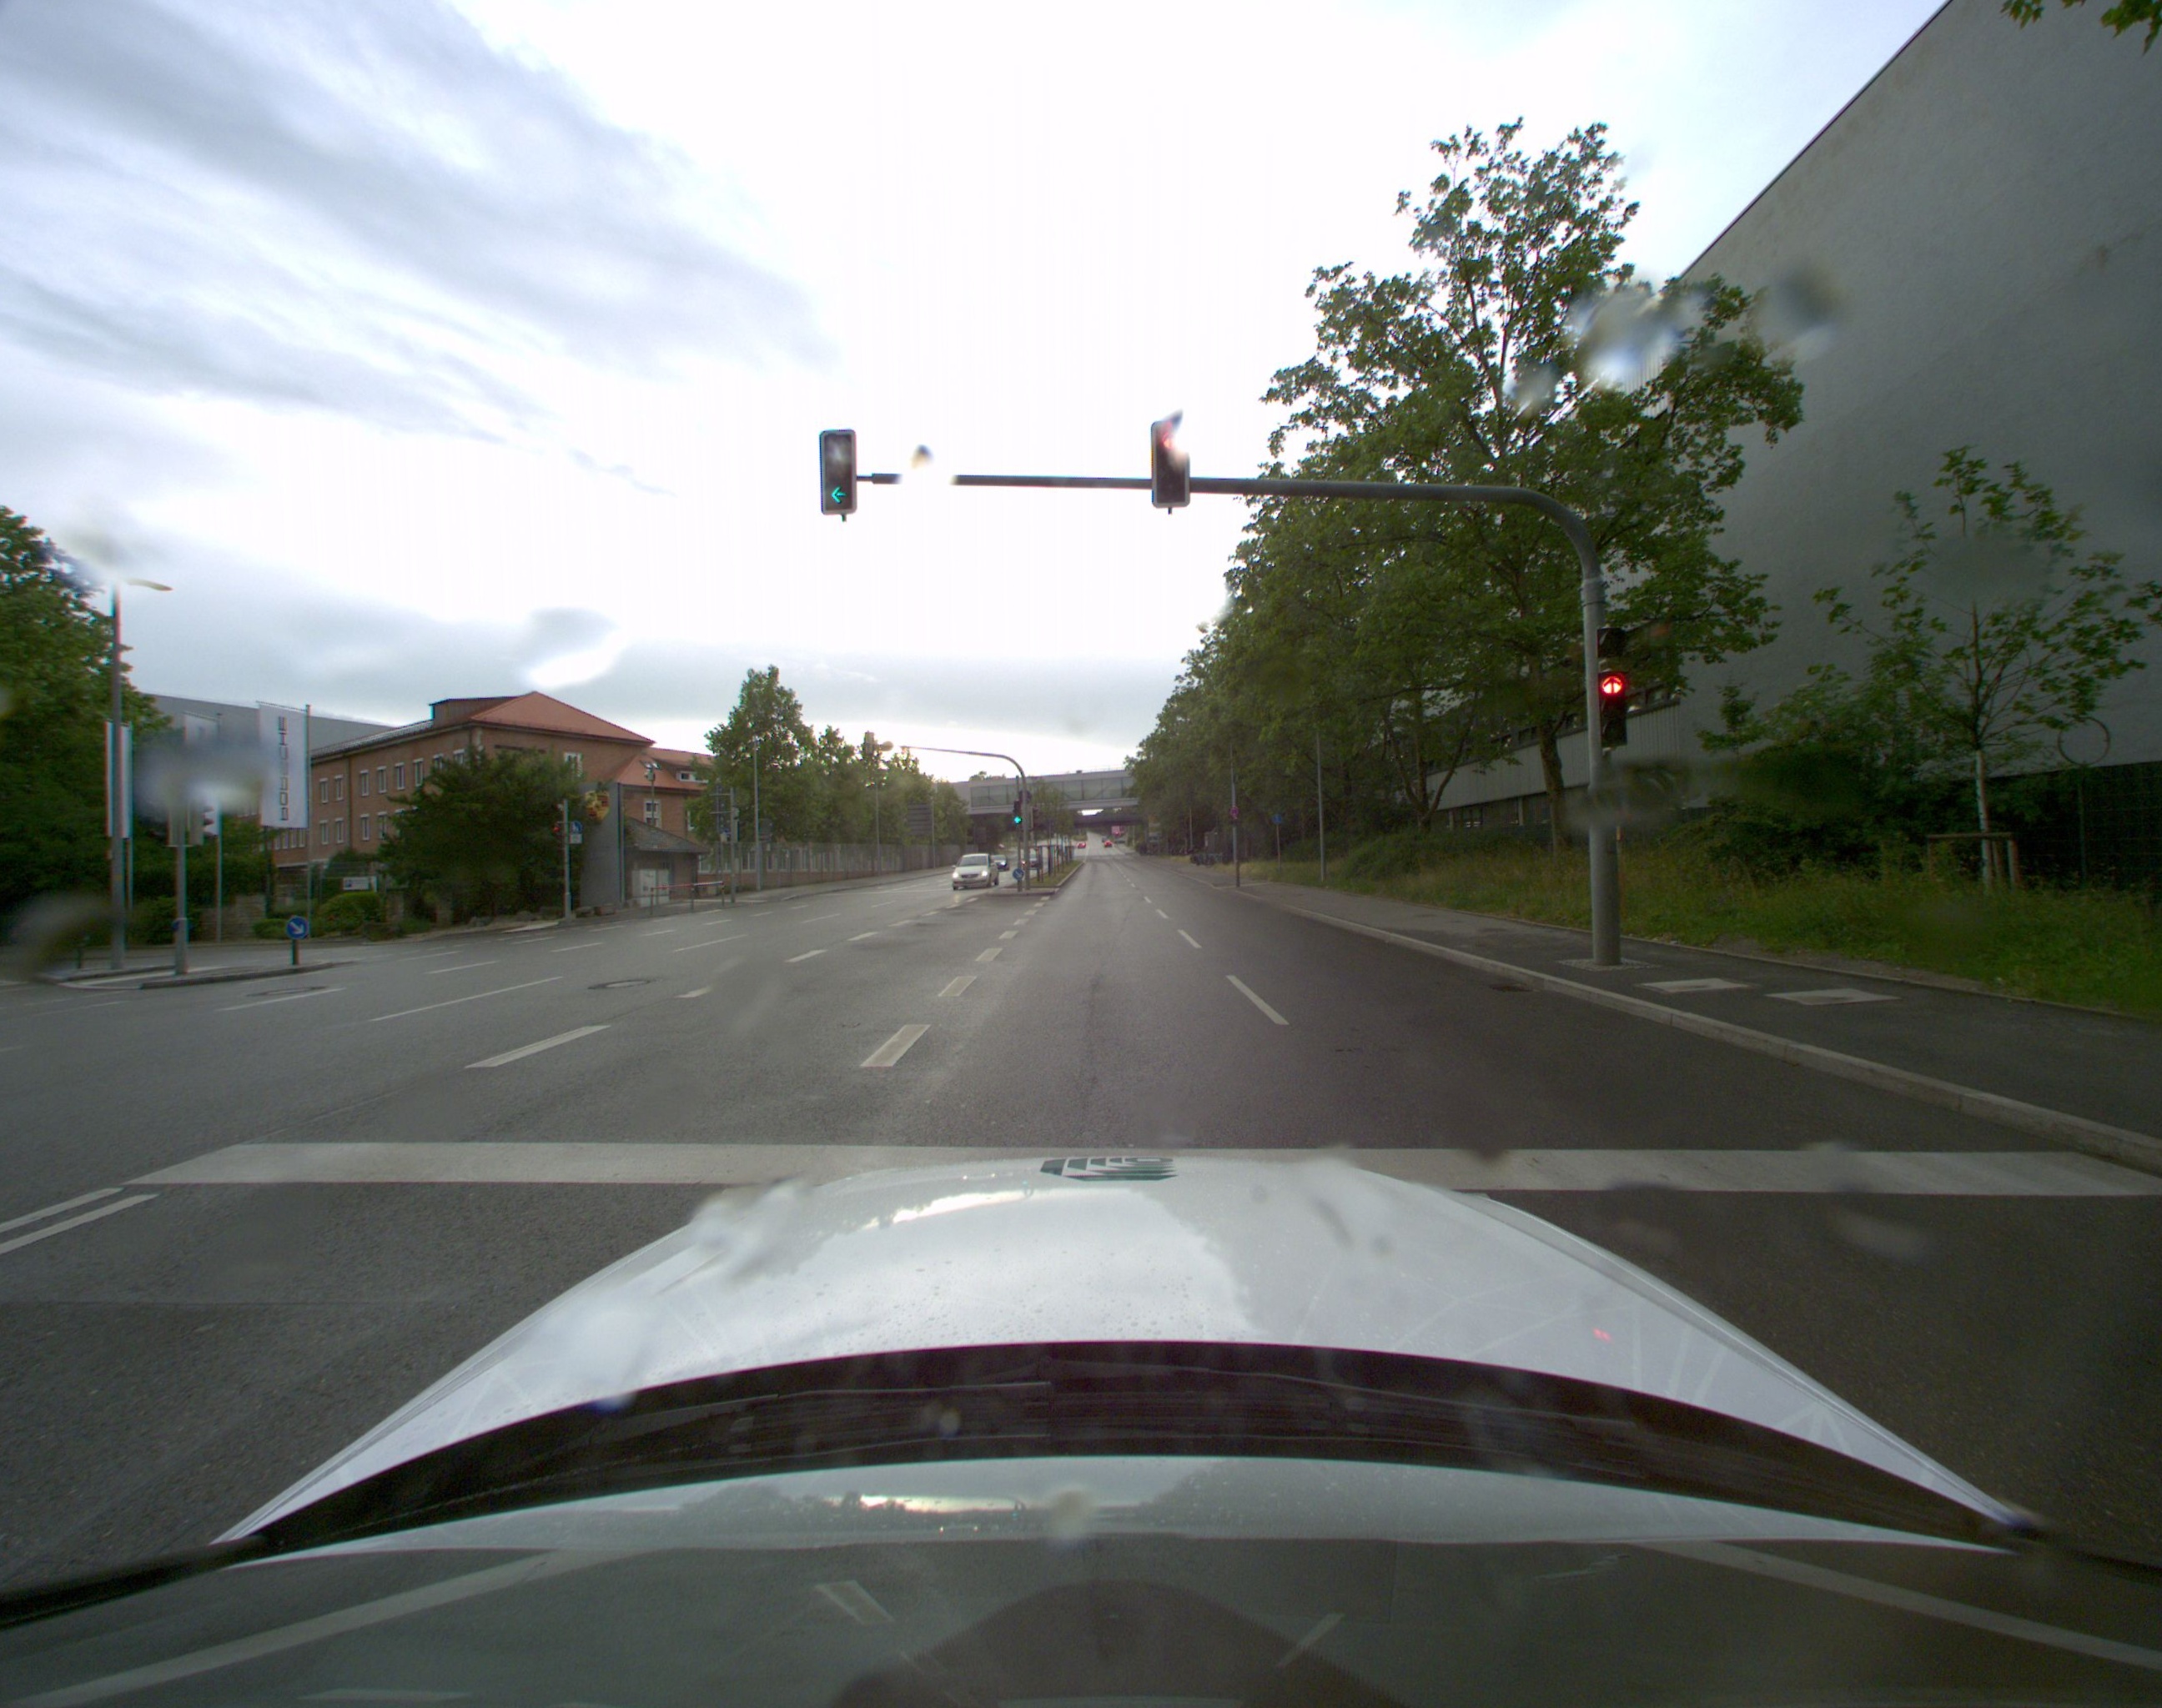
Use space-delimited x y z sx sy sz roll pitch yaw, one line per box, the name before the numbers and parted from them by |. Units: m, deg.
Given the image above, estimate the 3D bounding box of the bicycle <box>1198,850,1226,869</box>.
bicycle | 9.686 0.394 60.089 1.982 1.340 0.541 0 -1 2

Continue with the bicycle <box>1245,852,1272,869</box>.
bicycle | 13.778 0.507 63.095 1.982 1.328 0.576 0 -1 2

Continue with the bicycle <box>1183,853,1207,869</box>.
bicycle | 9.822 0.582 70.300 1.953 1.328 0.576 0 -1 2

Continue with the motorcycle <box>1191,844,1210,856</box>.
motorcycle | 15.706 -0.491 106.880 2.354 1.476 0.724 -3 0 9

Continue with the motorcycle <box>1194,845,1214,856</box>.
motorcycle | 14.965 -0.392 98.750 2.354 1.202 0.724 -3 0 9

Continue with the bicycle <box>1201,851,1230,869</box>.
bicycle | 9.605 0.431 58.012 1.982 1.233 0.541 0 -1 2

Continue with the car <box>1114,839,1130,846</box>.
car | 11.805 -3.389 236.487 4.495 1.762 1.905 0 -1 0

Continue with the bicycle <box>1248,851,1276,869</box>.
bicycle | 13.721 0.486 61.782 1.982 1.328 0.576 0 -1 2

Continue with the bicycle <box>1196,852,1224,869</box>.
bicycle | 9.613 0.471 60.782 1.982 1.242 0.541 0 -1 2

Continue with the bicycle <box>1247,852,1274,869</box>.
bicycle | 13.743 0.496 62.447 1.982 1.328 0.576 0 -1 2

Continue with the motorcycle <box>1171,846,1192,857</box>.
motorcycle | 11.970 -0.283 96.720 2.354 1.202 0.724 -3 0 9

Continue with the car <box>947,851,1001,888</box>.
car | -5.006 0.694 38.481 1.870 1.624 3.780 -2 0 2

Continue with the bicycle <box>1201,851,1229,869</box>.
bicycle | 9.641 0.438 58.671 1.982 1.242 0.541 0 -1 2

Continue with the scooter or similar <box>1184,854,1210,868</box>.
scooter or similar | 9.130 0.555 63.881 1.982 1.138 0.541 0 -1 2

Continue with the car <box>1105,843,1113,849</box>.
car | 7.034 -2.027 203.048 1.868 1.497 4.070 0 -1 2

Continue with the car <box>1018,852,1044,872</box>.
car | -4.359 0.654 71.757 1.870 1.624 3.780 -2 0 2

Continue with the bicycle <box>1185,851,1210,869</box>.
bicycle | 9.617 0.485 67.502 1.982 1.430 0.723 0 -1 2

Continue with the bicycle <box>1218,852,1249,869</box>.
bicycle | 10.082 0.436 53.780 1.982 1.095 0.541 0 -1 2

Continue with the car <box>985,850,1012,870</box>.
car | -7.245 0.547 71.781 1.870 1.624 3.780 -2 0 2

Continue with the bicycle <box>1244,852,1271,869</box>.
bicycle | 13.810 0.518 63.763 1.982 1.328 0.576 0 -1 2

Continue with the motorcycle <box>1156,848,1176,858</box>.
motorcycle | 10.600 -0.113 101.494 2.354 1.202 0.724 -3 0 9

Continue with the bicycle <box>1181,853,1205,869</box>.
bicycle | 9.758 0.593 70.992 1.955 1.328 0.654 0 -1 2

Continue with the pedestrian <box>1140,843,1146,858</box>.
pedestrian | 8.333 -0.517 109.585 0.619 2.013 0.606 -3 0 2

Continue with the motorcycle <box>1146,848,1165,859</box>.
motorcycle | 9.484 -0.048 104.001 2.354 1.202 0.724 -3 0 9

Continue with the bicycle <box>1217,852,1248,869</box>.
bicycle | 10.101 0.445 54.348 1.982 1.095 0.541 0 -1 2

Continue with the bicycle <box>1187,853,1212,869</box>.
bicycle | 9.945 0.552 68.348 1.982 1.328 0.576 0 -1 2

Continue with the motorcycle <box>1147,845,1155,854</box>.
motorcycle | 10.472 -0.666 121.763 0.789 1.311 2.371 -3 0 -7

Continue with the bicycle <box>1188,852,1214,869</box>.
bicycle | 9.589 0.508 65.014 1.982 1.328 0.576 0 -1 2

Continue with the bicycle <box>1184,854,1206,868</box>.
bicycle | 10.616 0.676 75.797 1.955 1.328 0.654 0 -1 2

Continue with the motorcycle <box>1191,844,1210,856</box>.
motorcycle | 15.850 -0.515 108.112 2.354 1.476 0.724 -3 0 9

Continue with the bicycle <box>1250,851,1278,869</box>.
bicycle | 13.714 0.473 61.018 1.982 1.328 0.576 0 -1 2

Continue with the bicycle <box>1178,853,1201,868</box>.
bicycle | 9.691 0.618 72.596 1.955 1.328 0.654 0 -1 2

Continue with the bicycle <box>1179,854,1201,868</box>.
bicycle | 9.906 0.647 74.310 1.955 1.328 0.654 0 -1 2

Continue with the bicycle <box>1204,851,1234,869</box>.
bicycle | 9.468 0.403 55.824 1.982 1.216 0.541 0 -1 2

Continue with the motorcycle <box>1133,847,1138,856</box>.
motorcycle | 9.657 -0.511 144.541 0.787 1.533 2.376 -3 0 0

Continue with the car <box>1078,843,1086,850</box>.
car | 0.236 -1.873 207.042 1.986 1.762 4.002 0 -1 2

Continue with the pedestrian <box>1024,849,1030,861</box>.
pedestrian | -8.880 0.134 134.271 0.870 2.004 0.854 -3 0 -2

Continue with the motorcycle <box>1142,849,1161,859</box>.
motorcycle | 9.268 -0.013 106.564 2.354 1.202 0.724 -3 0 9

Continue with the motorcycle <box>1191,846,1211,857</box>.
motorcycle | 14.888 -0.332 100.905 2.354 1.202 0.724 -3 0 9

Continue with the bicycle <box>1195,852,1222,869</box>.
bicycle | 9.640 0.487 61.731 1.982 1.242 0.541 0 -1 2

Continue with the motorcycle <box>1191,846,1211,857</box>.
motorcycle | 14.702 -0.337 100.023 2.354 1.202 0.724 -3 0 9

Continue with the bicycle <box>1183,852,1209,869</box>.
bicycle | 9.293 0.519 65.831 1.982 1.328 0.576 0 -1 2

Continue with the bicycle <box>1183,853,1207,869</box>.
bicycle | 9.642 0.573 69.066 1.982 1.328 0.576 0 -1 2

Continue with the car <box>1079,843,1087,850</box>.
car | 0.482 -1.934 211.979 1.877 1.762 3.970 0 -1 2

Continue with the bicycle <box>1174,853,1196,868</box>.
bicycle | 9.391 0.631 73.518 1.955 1.328 0.654 0 -1 2

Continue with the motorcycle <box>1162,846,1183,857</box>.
motorcycle | 10.718 -0.277 95.273 2.354 1.202 0.724 -3 0 9

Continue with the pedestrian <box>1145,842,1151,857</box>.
pedestrian | 9.003 -0.574 109.492 0.619 2.013 0.606 -3 0 2
